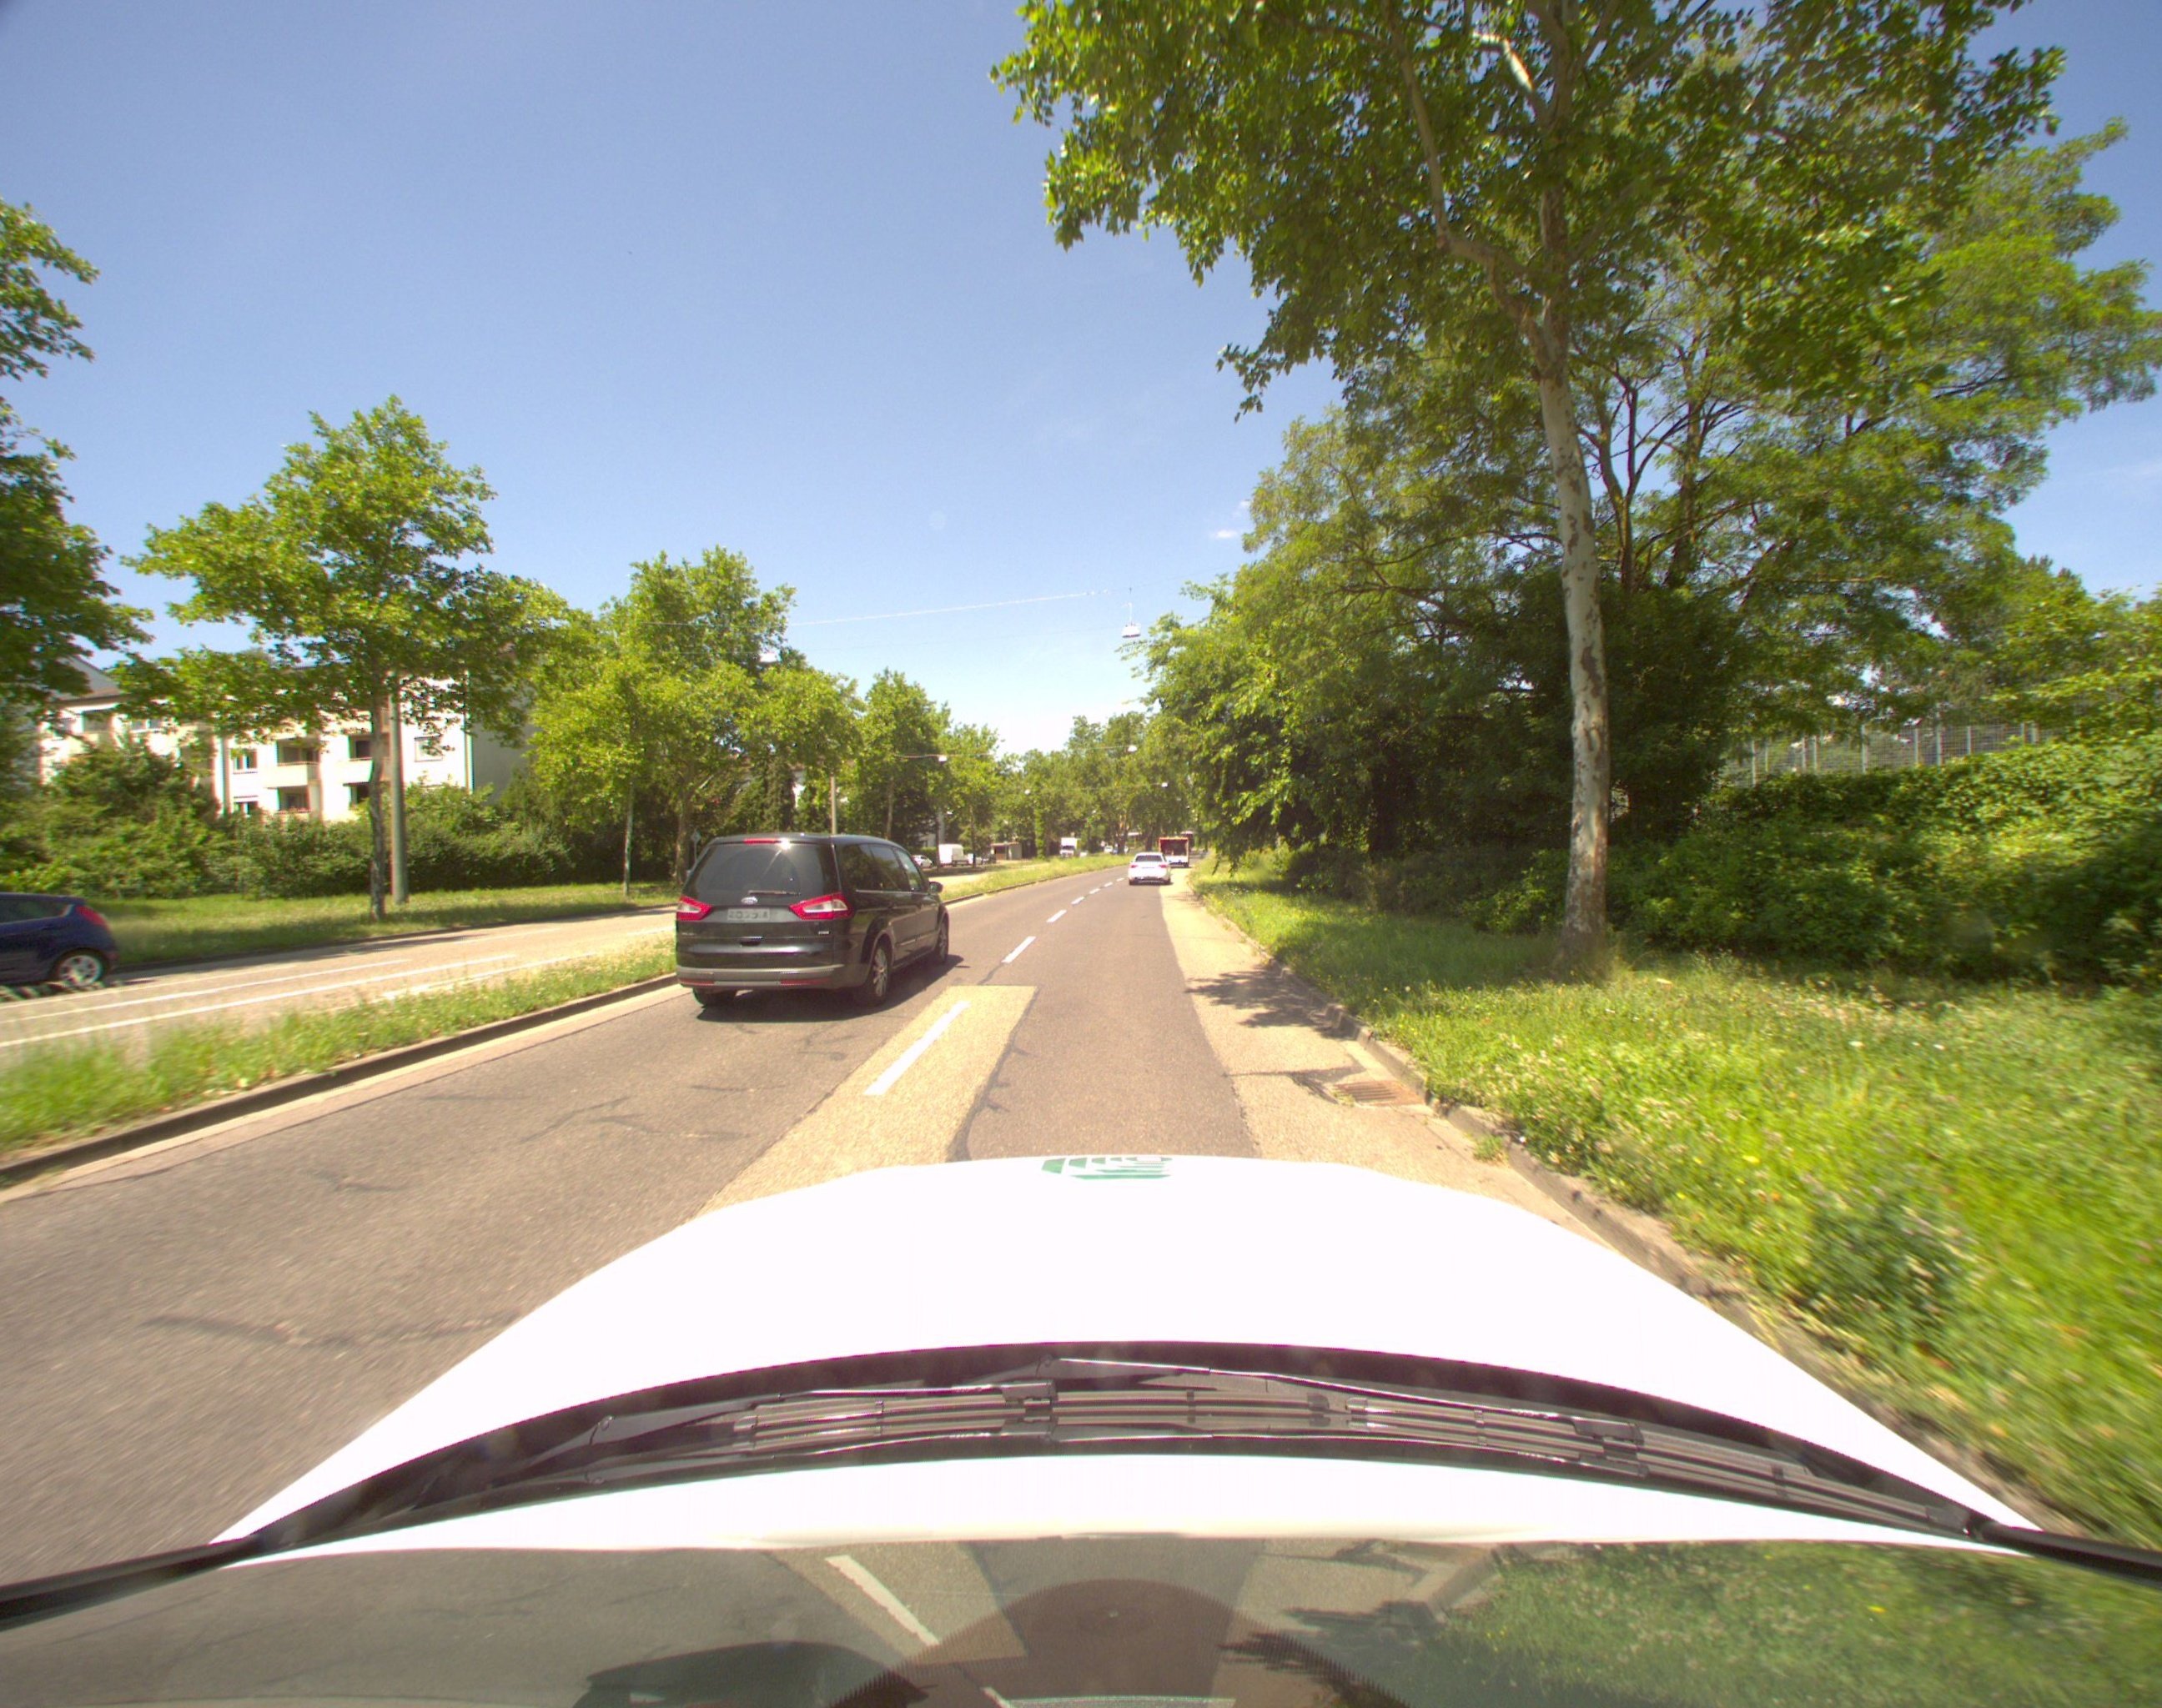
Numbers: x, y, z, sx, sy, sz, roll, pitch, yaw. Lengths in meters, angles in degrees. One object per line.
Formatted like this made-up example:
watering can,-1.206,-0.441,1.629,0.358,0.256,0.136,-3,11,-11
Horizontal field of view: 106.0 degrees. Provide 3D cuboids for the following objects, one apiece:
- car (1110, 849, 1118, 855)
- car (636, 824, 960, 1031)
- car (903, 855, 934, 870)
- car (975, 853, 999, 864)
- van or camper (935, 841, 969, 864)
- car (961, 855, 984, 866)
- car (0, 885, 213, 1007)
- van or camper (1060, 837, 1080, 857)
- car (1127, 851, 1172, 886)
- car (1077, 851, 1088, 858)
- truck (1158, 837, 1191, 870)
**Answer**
car,7.302,-0.479,180.654,1.765,1.332,3.661,-2,0,1
car,-2.784,0.614,9.322,1.846,1.755,4.652,-1,0,3
car,-17.365,0.896,87.154,1.869,1.474,4.012,-2,0,11
car,-12.454,0.573,108.311,1.815,1.390,3.963,-2,1,14
van or camper,-15.187,-0.204,96.134,2.168,2.587,5.326,-2,0,12
car,-13.642,0.767,102.633,1.682,1.284,3.814,-1,0,10
car,-14.624,1.276,10.886,1.714,1.455,3.871,-4,0,2
van or camper,-1.806,-1.178,135.835,2.648,3.331,5.509,-1,0,5
car,3.081,0.595,36.056,1.753,1.445,3.624,0,0,8
car,0.333,0.056,150.887,1.907,1.210,4.336,-2,0,1
truck,7.606,-0.108,66.818,2.498,2.559,7.616,0,1,6
